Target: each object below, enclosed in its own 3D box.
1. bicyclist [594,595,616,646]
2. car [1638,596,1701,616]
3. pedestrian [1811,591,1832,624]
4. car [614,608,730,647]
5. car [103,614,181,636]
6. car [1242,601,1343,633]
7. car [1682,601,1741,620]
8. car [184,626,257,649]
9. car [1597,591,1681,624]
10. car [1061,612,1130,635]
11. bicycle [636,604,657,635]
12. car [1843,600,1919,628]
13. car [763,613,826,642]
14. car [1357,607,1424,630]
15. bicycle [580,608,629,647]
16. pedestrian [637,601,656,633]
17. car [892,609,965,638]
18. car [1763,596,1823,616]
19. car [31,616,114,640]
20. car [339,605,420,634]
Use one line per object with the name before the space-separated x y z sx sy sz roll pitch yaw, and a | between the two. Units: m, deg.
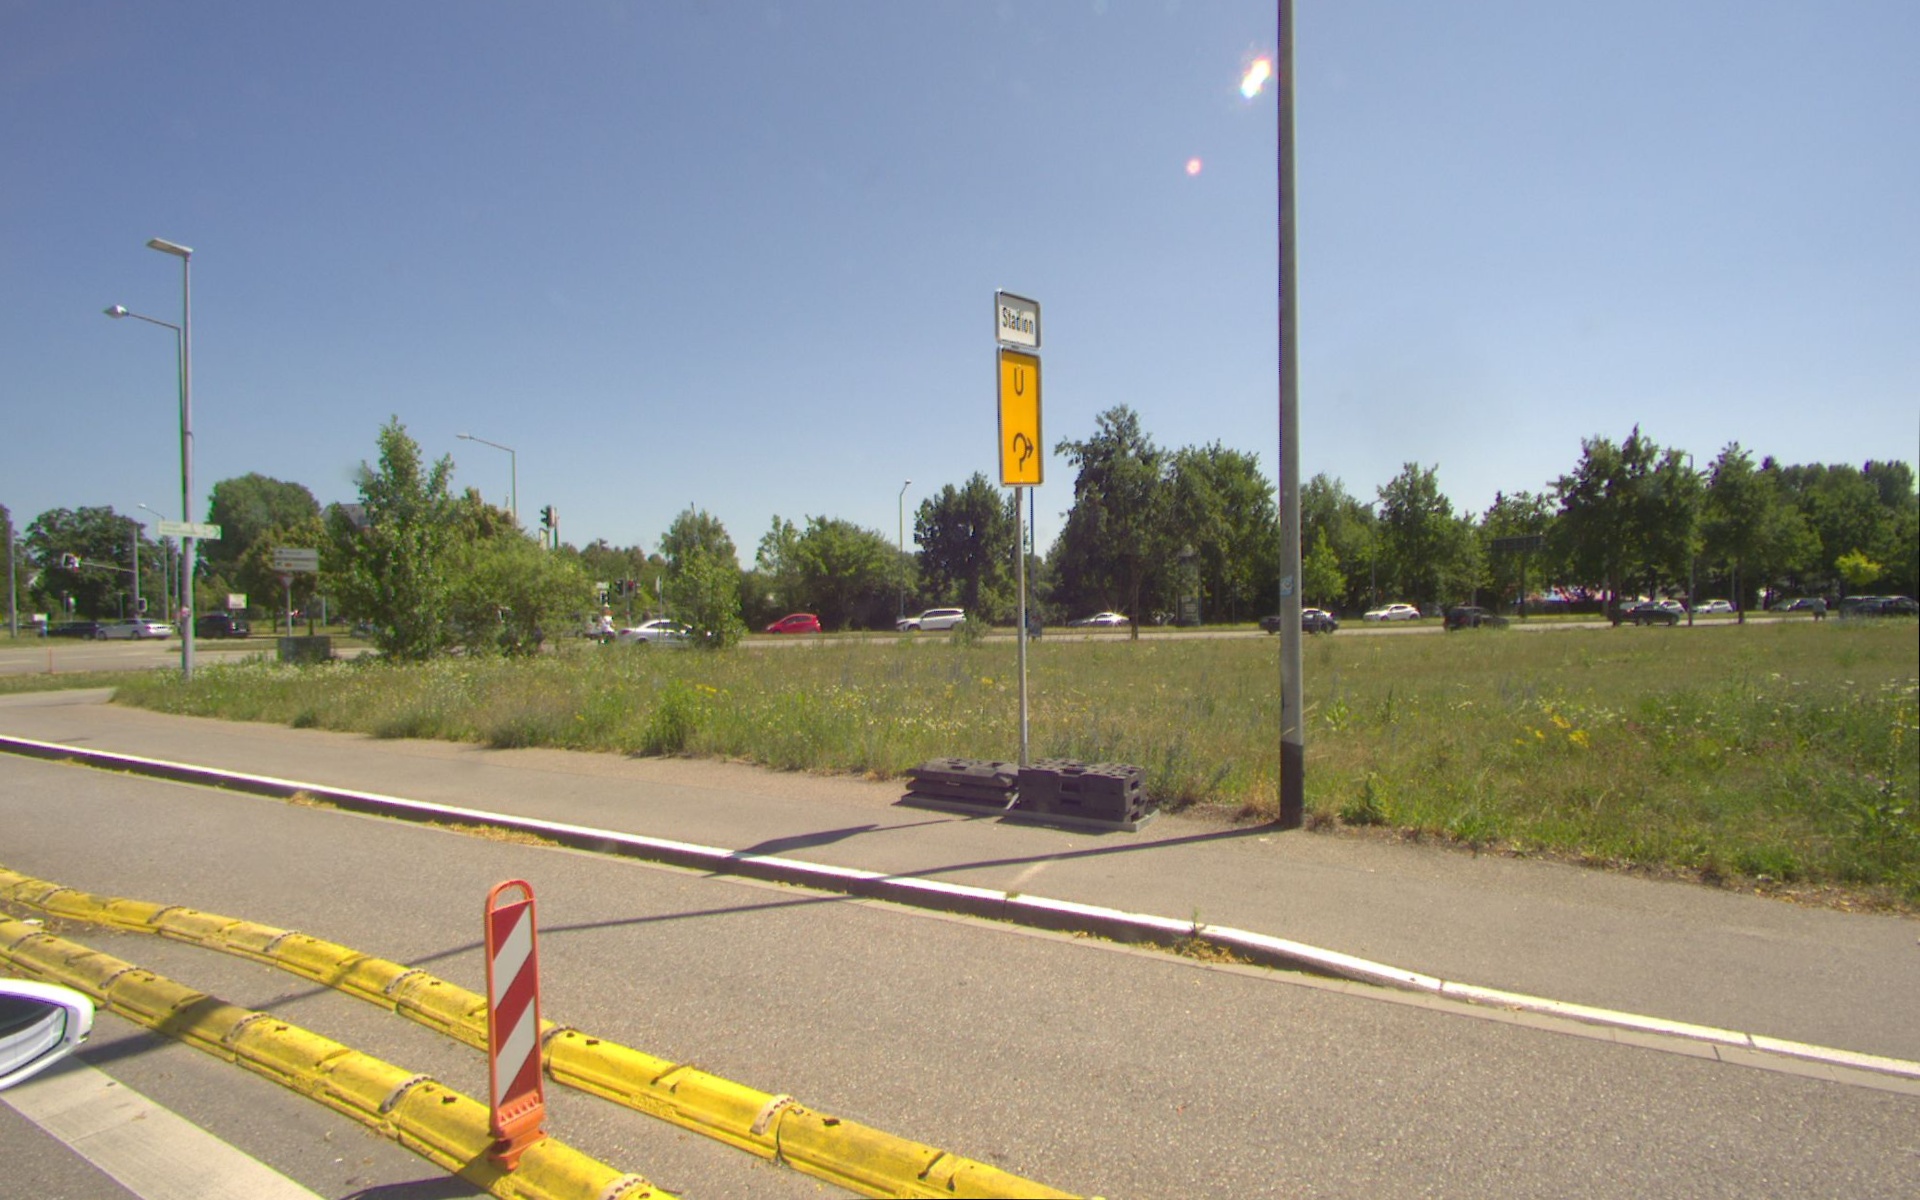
bicyclist | -13.163 0.761 37.162 0.597 1.864 0.572 0 -1 2
car | 57.753 0.500 81.514 4.366 1.612 1.846 0 -2 -16
pedestrian | 43.623 0.388 50.725 0.548 1.611 0.662 1 -1 -32
car | -12.124 1.121 42.224 4.355 1.547 1.990 0 0 -30
car | -54.108 1.651 66.232 4.250 1.389 1.751 -1 -2 13
car | 18.743 1.000 56.550 5.236 1.758 1.997 0 -2 -17
car | 65.590 0.887 87.382 4.365 1.613 1.845 0 0 -16
car | -52.811 2.692 71.534 4.250 1.634 1.881 -1 -2 13
car | 42.588 0.480 62.825 4.564 1.961 1.996 1 -2 -19
car | 9.451 1.646 69.891 4.366 1.612 1.846 0 -2 -16
bicycle | -16.763 1.054 53.556 0.967 1.617 2.879 0 -2 -16
car | 59.804 0.929 64.551 4.559 1.758 1.999 0 -2 -13
car | -10.669 1.773 64.628 3.867 1.840 1.662 0 -2 -15
car | 31.815 1.377 74.079 4.366 1.612 1.846 0 -2 -16
bicycle | -13.165 1.035 37.146 0.628 1.370 2.896 0 -2 4
pedestrian | -16.720 0.919 53.418 0.954 1.681 0.885 0 -1 -16
car | -2.003 1.520 63.796 4.366 1.758 1.846 0 -2 -16
car | 70.954 0.554 85.311 4.366 1.612 1.846 0 -2 -16
car | -66.697 2.104 75.288 4.359 1.758 1.849 0 -2 -7
car | -40.691 1.403 70.215 5.235 1.986 1.991 -1 -2 20
